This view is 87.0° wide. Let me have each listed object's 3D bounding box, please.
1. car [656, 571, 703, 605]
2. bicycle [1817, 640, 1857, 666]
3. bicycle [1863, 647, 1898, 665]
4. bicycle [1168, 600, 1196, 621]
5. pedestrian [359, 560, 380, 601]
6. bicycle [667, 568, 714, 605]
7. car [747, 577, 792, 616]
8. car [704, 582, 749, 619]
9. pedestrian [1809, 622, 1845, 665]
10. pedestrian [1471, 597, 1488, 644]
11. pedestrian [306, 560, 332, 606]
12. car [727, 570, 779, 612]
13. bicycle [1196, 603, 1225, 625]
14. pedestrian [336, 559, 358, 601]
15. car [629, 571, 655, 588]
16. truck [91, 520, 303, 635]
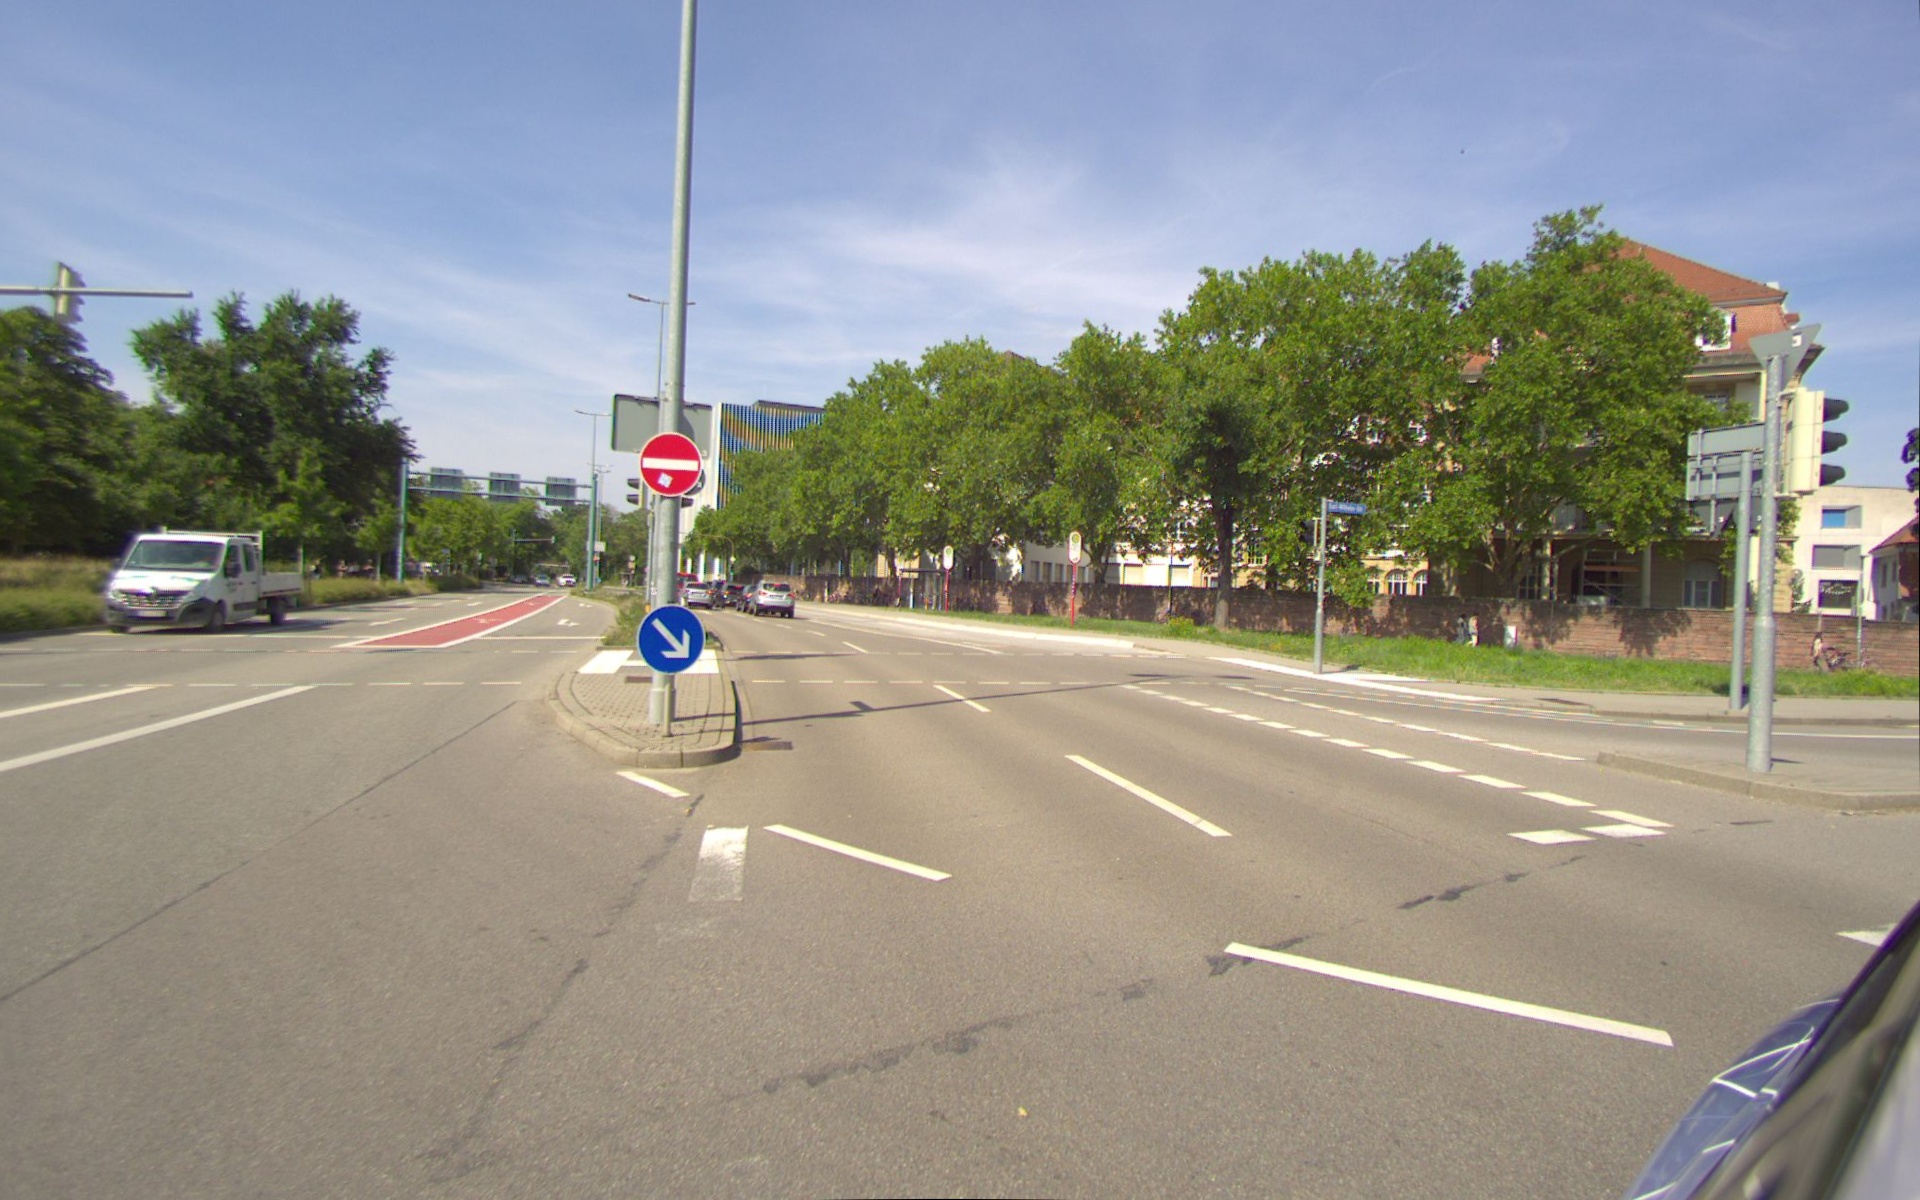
[{"bbox_3d":[-16.483,-0.739,59.285,1.938,1.819,4.621,3,1,-24],"label":"car"},{"bbox_3d":[33.816,2.046,39.015,1.204,0.894,0.394,3,0,-3],"label":"bicycle"},{"bbox_3d":[35.139,2.125,38.647,0.934,0.609,0.273,3,0,16],"label":"bicycle"},{"bbox_3d":[12.154,0.577,55.415,1.442,1.046,0.441,3,1,42],"label":"bicycle"},{"bbox_3d":[-37.879,-1.222,64.897,0.934,2.566,1.126,2,-2,-22],"label":"pedestrian"},{"bbox_3d":[-14.272,-0.720,53.516,1.958,1.838,4.009,2,1,-21],"label":"bicycle"},{"bbox_3d":[-8.946,-0.187,47.419,1.675,1.638,4.227,3,1,-15],"label":"car"},{"bbox_3d":[-13.777,0.055,59.614,1.958,2.040,4.007,2,-2,-21],"label":"car"},{"bbox_3d":[32.933,1.636,38.461,0.906,1.567,0.498,3,0,31],"label":"pedestrian"},{"bbox_3d":[22.653,0.894,44.131,0.590,2.039,0.519,2,0,26],"label":"pedestrian"},{"bbox_3d":[-36.688,-0.931,57.946,0.934,2.566,1.126,2,-2,-22],"label":"pedestrian"},{"bbox_3d":[-10.916,-0.447,53.175,1.958,2.040,4.007,2,-2,-21],"label":"car"},{"bbox_3d":[13.411,0.750,54.216,1.442,1.046,0.441,3,1,42],"label":"bicycle"},{"bbox_3d":[-38.814,-1.268,64.132,0.934,2.566,1.126,2,-2,-22],"label":"pedestrian"},{"bbox_3d":[-28.358,-1.850,90.151,1.763,1.529,4.008,0,1,-24],"label":"car"},{"bbox_3d":[-18.291,-0.568,24.771,2.363,2.385,7.063,1,1,-22],"label":"truck"}]
